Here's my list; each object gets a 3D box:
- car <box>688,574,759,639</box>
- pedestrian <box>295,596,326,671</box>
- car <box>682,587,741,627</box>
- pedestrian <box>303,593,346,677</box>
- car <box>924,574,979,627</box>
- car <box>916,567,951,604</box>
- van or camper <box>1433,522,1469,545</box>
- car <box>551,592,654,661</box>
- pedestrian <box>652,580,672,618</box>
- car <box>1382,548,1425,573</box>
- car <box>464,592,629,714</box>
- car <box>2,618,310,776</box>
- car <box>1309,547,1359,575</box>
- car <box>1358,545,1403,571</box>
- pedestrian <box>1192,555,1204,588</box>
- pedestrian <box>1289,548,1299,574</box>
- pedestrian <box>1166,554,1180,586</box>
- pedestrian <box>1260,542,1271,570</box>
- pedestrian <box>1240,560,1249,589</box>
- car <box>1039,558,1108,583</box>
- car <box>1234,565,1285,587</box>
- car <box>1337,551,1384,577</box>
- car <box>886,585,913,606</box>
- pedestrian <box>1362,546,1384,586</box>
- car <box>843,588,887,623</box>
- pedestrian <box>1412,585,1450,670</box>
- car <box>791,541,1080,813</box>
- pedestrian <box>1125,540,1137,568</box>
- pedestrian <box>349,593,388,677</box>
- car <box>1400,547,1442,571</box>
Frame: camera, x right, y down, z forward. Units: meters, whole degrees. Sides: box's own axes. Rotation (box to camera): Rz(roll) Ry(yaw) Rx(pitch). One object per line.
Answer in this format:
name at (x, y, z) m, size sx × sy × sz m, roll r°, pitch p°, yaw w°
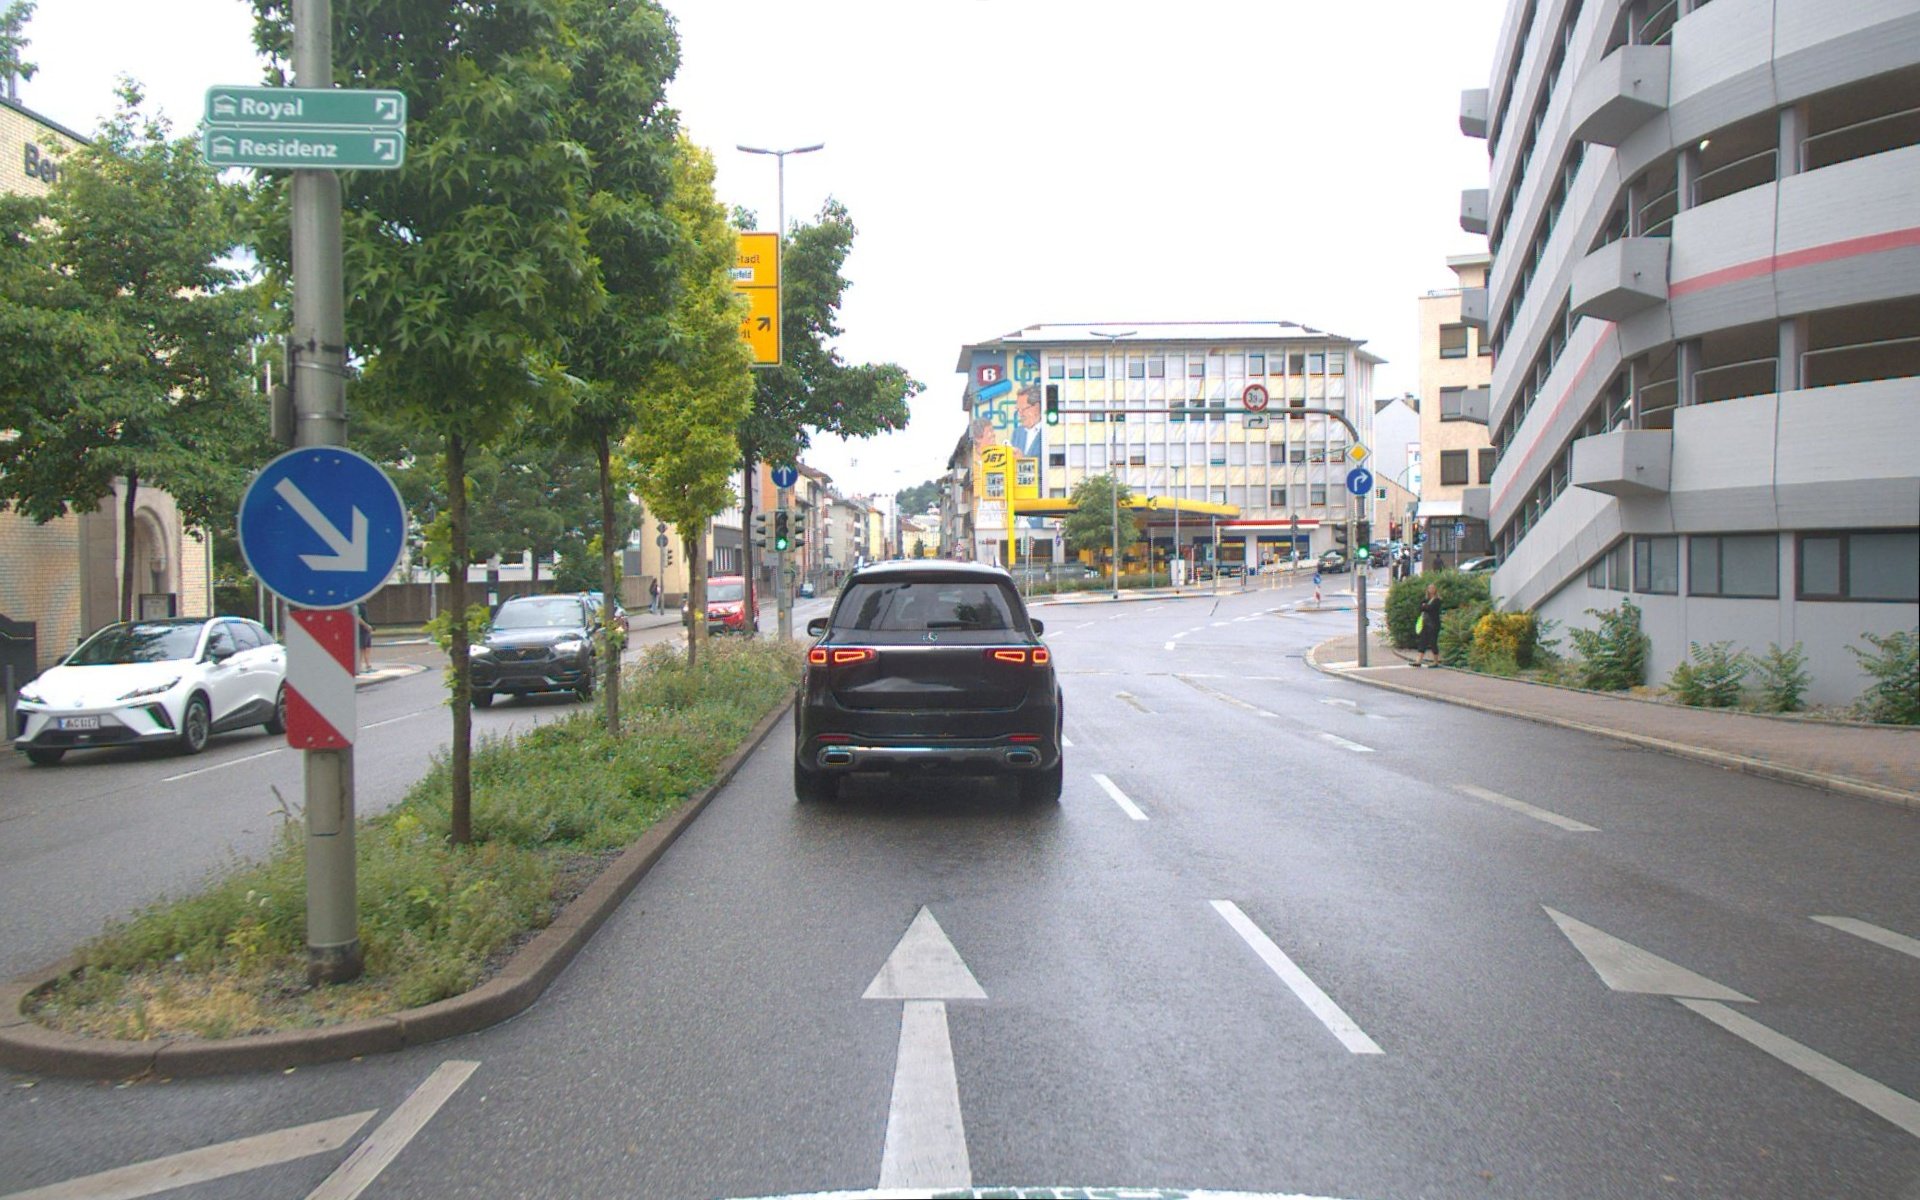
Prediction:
car at (-7.442, 0.194, 52.475) m, size 1.757 × 1.886 × 4.789 m, roll -3°, pitch 0°, yaw -3°
pedestrian at (-13.841, 0.711, 35.272) m, size 0.430 × 1.560 × 0.545 m, roll -1°, pitch 0°, yaw -4°
car at (-10.179, 0.271, 68.070) m, size 1.809 × 1.454 × 4.433 m, roll -3°, pitch 1°, yaw -2°
pedestrian at (-13.052, 0.706, 33.976) m, size 0.599 × 1.685 × 0.691 m, roll -1°, pitch 0°, yaw -4°
car at (-0.338, 0.038, 60.829) m, size 1.953 × 1.832 × 3.999 m, roll 1°, pitch -1°, yaw -1°
car at (-1.560, -0.843, 97.613) m, size 1.953 × 2.049 × 3.998 m, roll 1°, pitch -1°, yaw -2°
van or camper at (44.555, -5.997, 149.957) m, size 1.958 × 2.013 × 4.502 m, roll -1°, pitch 1°, yaw 32°
car at (-9.295, 0.654, 43.336) m, size 1.851 × 1.614 × 4.534 m, roll -3°, pitch 0°, yaw -3°
pedestrian at (-14.105, -0.034, 78.246) m, size 0.638 × 1.757 × 0.626 m, roll -1°, pitch 0°, yaw 40°
car at (32.591, -2.884, 121.540) m, size 1.958 × 1.735 × 3.990 m, roll -1°, pitch 1°, yaw 32°
car at (-6.386, 0.760, 25.987) m, size 1.698 × 1.654 × 4.228 m, roll -3°, pitch 0°, yaw -4°
car at (-9.214, 1.036, 19.371) m, size 1.698 × 1.494 × 4.228 m, roll -3°, pitch 0°, yaw -4°
car at (24.399, -2.551, 107.831) m, size 1.958 × 1.735 × 3.990 m, roll -1°, pitch 1°, yaw 32°
car at (29.616, -2.980, 116.424) m, size 1.958 × 1.735 × 3.990 m, roll -1°, pitch 1°, yaw 32°
pedestrian at (12.870, -1.549, 89.377) m, size 0.560 × 1.727 × 0.631 m, roll 1°, pitch -1°, yaw 0°
pedestrian at (21.615, -2.546, 107.010) m, size 0.474 × 1.669 × 0.438 m, roll 0°, pitch -1°, yaw 27°
pedestrian at (11.684, -1.644, 90.669) m, size 0.515 × 1.757 × 0.689 m, roll -1°, pitch 0°, yaw 26°
pedestrian at (19.536, -2.795, 105.807) m, size 0.515 × 1.757 × 0.689 m, roll -1°, pitch 0°, yaw 26°
pedestrian at (14.165, -1.271, 82.355) m, size 0.388 × 1.424 × 0.446 m, roll 1°, pitch -1°, yaw 0°
car at (6.659, -1.726, 97.336) m, size 1.724 × 1.400 × 3.934 m, roll -2°, pitch 1°, yaw -44°
car at (21.215, -1.658, 117.201) m, size 1.961 × 1.422 × 3.983 m, roll 0°, pitch -1°, yaw 37°
car at (27.172, -2.444, 112.158) m, size 1.958 × 1.735 × 3.990 m, roll -1°, pitch 1°, yaw 32°
car at (-4.886, -0.323, 133.765) m, size 1.952 × 1.574 × 4.190 m, roll 1°, pitch -1°, yaw 1°
pedestrian at (22.713, -1.889, 90.901) m, size 0.838 × 2.165 × 0.947 m, roll -2°, pitch 0°, yaw -7°
car at (-4.573, 0.281, 79.986) m, size 1.953 × 1.642 × 4.188 m, roll 1°, pitch -1°, yaw -1°
pedestrian at (9.752, 0.575, 34.248) m, size 0.634 × 1.740 × 0.470 m, roll 0°, pitch -2°, yaw 35°
car at (-0.204, 0.558, 13.337) m, size 1.953 × 1.832 × 3.999 m, roll 1°, pitch -1°, yaw -1°
pedestrian at (10.871, -2.943, 104.933) m, size 0.516 × 1.757 × 0.688 m, roll -1°, pitch 0°, yaw 28°
pedestrian at (-12.826, 0.749, 35.862) m, size 0.675 × 1.788 × 0.716 m, roll -1°, pitch 0°, yaw -12°
car at (35.194, -3.114, 126.175) m, size 1.958 × 1.735 × 3.990 m, roll -1°, pitch 1°, yaw 32°
